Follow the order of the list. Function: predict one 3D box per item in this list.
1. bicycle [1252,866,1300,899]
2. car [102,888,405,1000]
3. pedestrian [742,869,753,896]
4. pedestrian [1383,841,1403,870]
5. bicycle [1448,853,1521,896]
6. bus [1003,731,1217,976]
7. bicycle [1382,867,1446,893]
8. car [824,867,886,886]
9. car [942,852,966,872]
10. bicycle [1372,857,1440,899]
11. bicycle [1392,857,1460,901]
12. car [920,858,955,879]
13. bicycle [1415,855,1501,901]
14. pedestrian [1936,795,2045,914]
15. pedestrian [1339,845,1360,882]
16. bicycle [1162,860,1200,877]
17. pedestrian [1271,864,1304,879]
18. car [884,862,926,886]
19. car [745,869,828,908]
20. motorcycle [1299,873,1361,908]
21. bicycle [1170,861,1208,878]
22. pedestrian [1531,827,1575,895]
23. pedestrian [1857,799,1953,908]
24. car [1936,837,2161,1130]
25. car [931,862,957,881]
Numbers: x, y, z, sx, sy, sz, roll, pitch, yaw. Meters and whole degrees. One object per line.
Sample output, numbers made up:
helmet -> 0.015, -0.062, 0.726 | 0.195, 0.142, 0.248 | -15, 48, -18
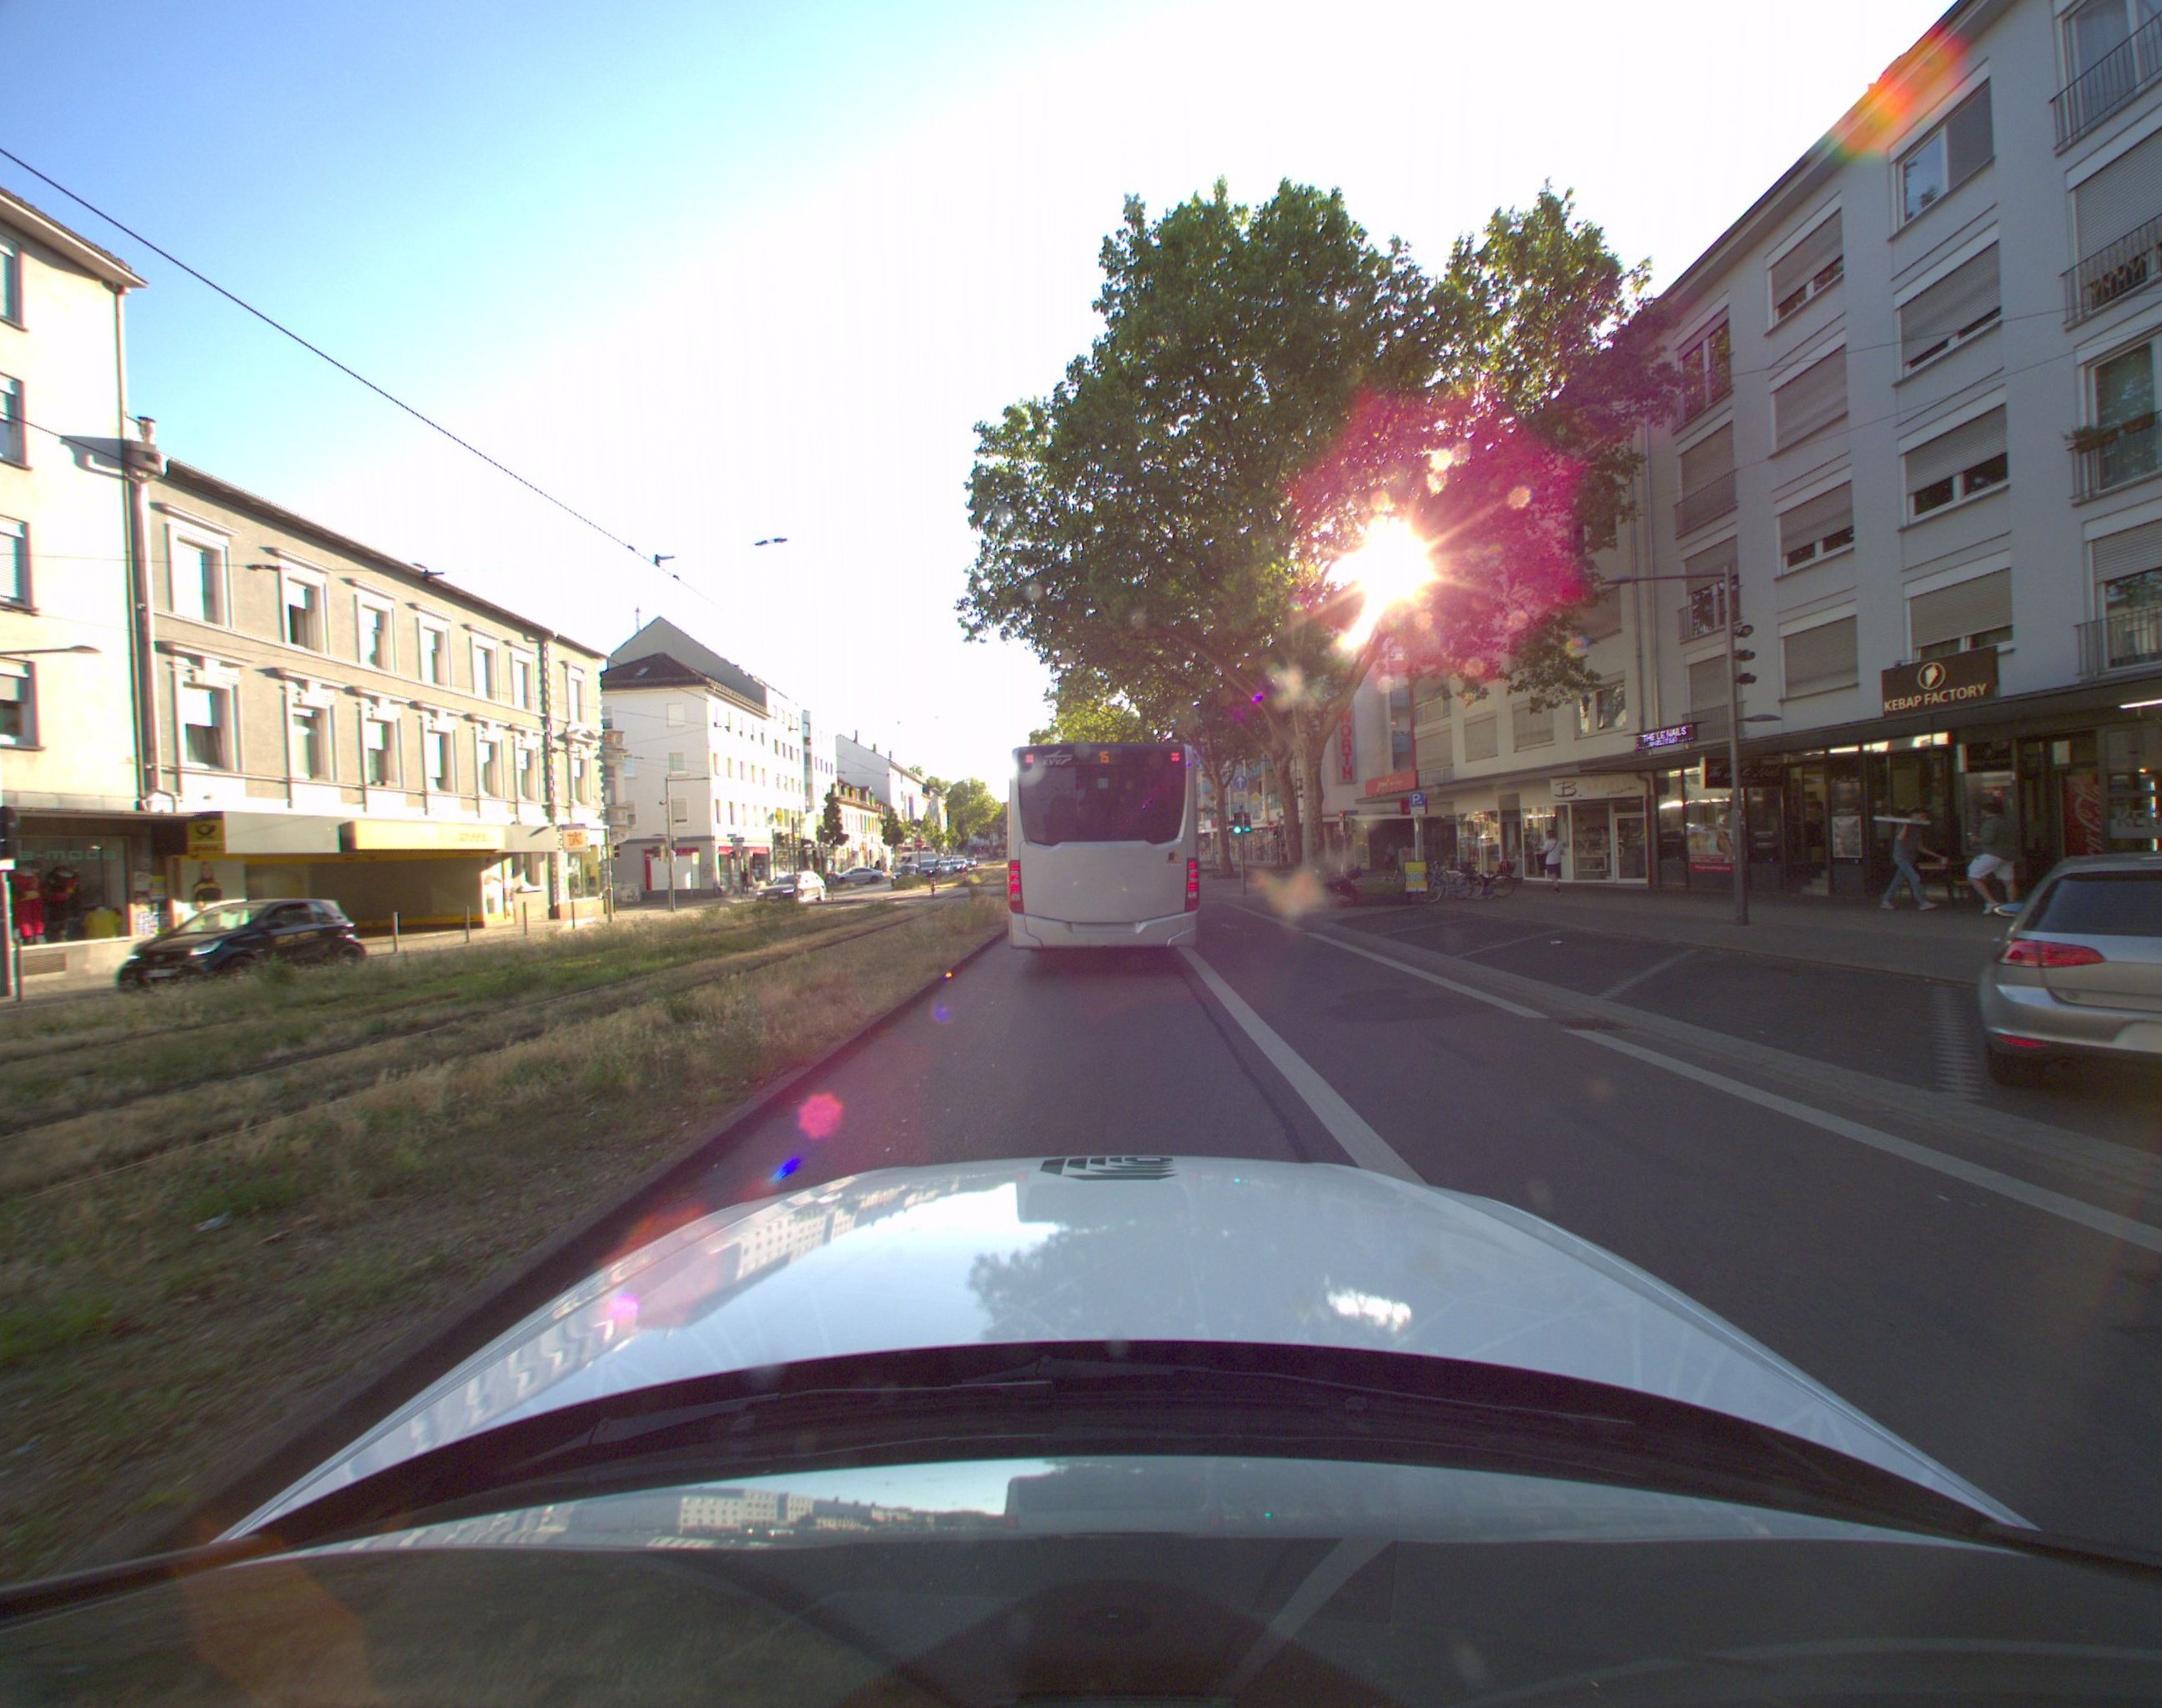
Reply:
bicycle -> 6.692, 0.978, 27.962 | 1.503, 1.105, 0.460 | 1, 0, 2
car -> -14.577, 1.497, 14.657 | 1.715, 1.509, 3.478 | -5, -1, 3
pedestrian -> -21.374, 1.806, 52.245 | 0.423, 1.713, 0.509 | -2, -1, 5
pedestrian -> 18.494, 0.083, 48.282 | 0.746, 1.679, 0.834 | -2, 2, -5
bicycle -> 11.998, 0.618, 24.248 | 1.753, 1.154, 0.680 | -4, -1, 10
bus -> 0.537, -0.007, 13.947 | 2.667, 3.083, 7.119 | -1, 0, 3
bicycle -> 11.108, 0.862, 27.223 | 1.865, 0.765, 0.713 | -2, 0, 10
car -> -18.857, 1.859, 68.044 | 4.571, 1.412, 1.978 | -2, 0, -35
car -> -14.077, 0.874, 90.411 | 1.988, 2.013, 3.998 | -2, 0, -1
bicycle -> 10.497, 0.774, 26.369 | 1.865, 1.189, 0.713 | -5, -1, 9
bicycle -> 10.733, 0.769, 25.353 | 1.784, 1.189, 0.670 | -5, -1, -7
car -> -12.062, 1.203, 68.625 | 1.773, 1.615, 4.513 | -2, 0, 4
bicycle -> 11.032, 0.698, 23.886 | 2.070, 1.233, 0.833 | -3, -1, 6
pedestrian -> 14.597, 0.005, 13.102 | 0.703, 1.791, 0.789 | -5, -1, 7
pedestrian -> 13.620, 0.475, 41.379 | 0.777, 1.794, 0.764 | -2, -1, 2
bicycle -> 6.628, 0.943, 53.980 | 2.307, 1.028, 0.835 | -2, 1, -7
pedestrian -> 8.637, 0.732, 34.088 | 1.250, 0.589, 0.482 | -1, -1, -1
car -> -12.634, 1.423, 58.587 | 1.773, 1.450, 4.048 | -4, 1, 4
car -> -13.674, 1.553, 38.121 | 1.986, 1.559, 4.776 | -2, 0, 2
motorcycle -> 7.071, 1.030, 23.171 | 1.566, 0.892, 0.544 | -3, -1, -2
bicycle -> 7.001, 0.987, 52.775 | 2.307, 0.939, 0.835 | -2, 1, -7
pedestrian -> 13.553, 0.204, 23.396 | 0.643, 1.876, 0.821 | -2, -1, -12
pedestrian -> 14.775, -0.004, 14.621 | 0.908, 1.876, 0.737 | -2, -1, -2
car -> 7.336, 0.640, 5.369 | 4.196, 1.451, 1.789 | -2, -1, -36
car -> -13.540, 1.694, 80.750 | 1.892, 1.804, 3.998 | -2, 0, -1
